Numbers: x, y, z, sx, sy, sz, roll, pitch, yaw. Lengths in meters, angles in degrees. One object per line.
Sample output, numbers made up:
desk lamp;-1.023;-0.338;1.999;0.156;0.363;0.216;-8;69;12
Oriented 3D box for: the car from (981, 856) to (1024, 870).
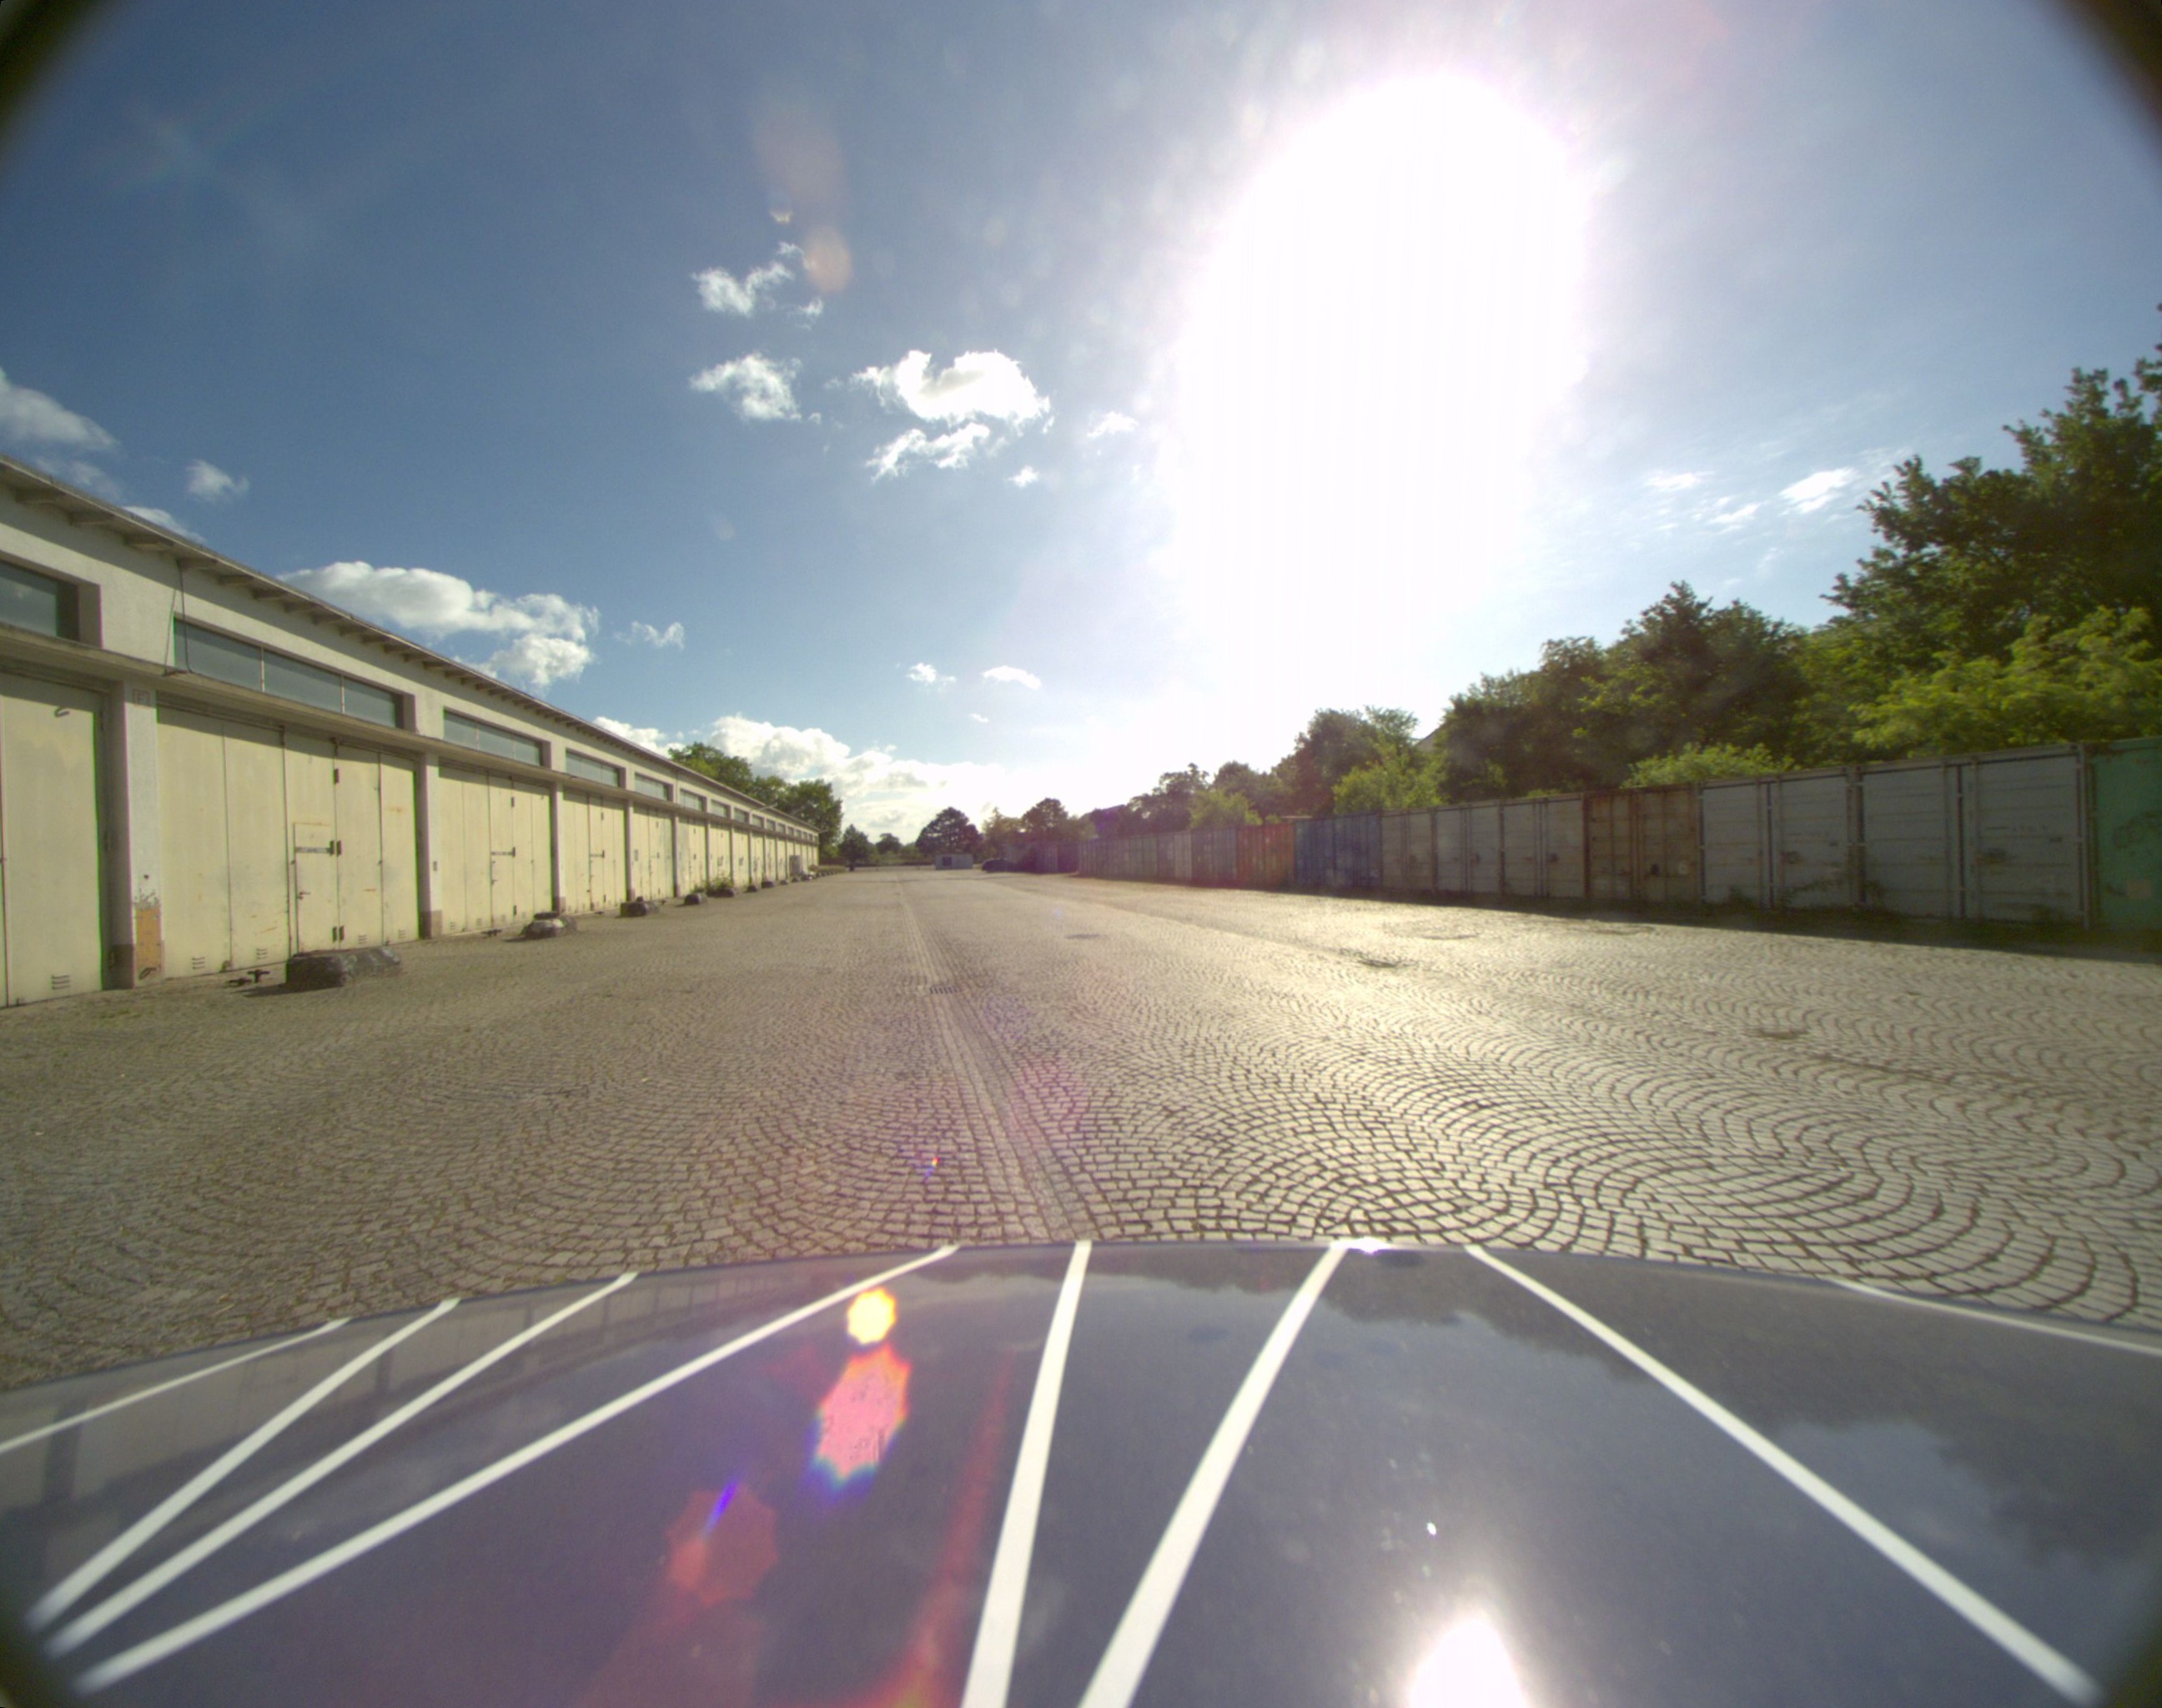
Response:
car;-8.294;0.942;80.254;4.117;1.289;1.997;-3;1;-16
